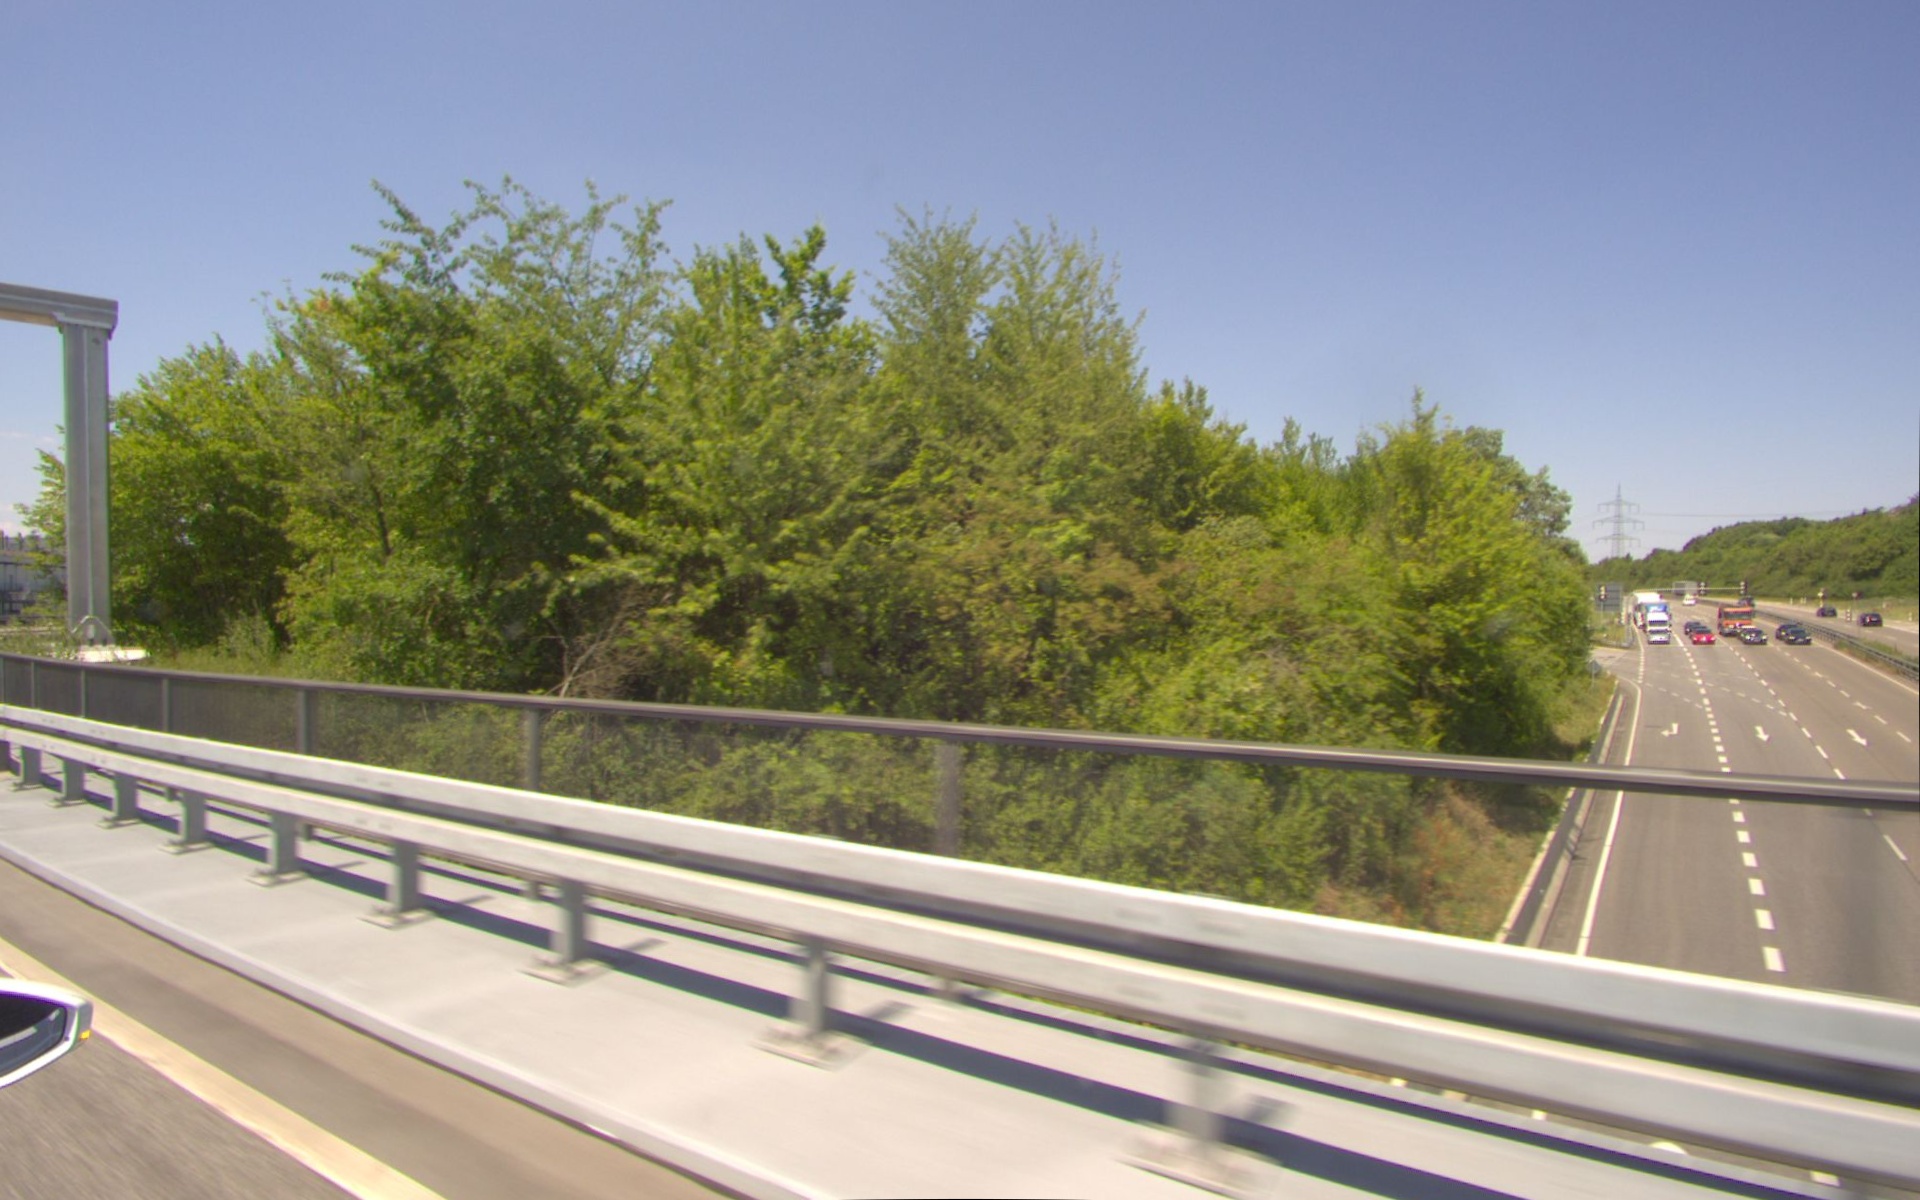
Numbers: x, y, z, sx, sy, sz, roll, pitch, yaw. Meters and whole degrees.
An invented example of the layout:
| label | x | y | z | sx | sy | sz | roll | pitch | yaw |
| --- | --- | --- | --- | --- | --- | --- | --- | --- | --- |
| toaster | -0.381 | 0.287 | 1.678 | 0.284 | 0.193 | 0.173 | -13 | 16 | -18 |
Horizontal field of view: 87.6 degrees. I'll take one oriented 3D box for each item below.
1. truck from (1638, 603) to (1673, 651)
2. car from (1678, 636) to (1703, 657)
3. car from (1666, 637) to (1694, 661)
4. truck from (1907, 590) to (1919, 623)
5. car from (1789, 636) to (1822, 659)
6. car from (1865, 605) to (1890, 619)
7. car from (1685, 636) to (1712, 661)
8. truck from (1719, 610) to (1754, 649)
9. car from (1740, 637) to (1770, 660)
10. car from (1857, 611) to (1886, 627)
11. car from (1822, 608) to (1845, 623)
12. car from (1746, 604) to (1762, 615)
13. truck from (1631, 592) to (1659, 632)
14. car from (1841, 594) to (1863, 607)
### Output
| label | x | y | z | sx | sy | sz | roll | pitch | yaw |
| --- | --- | --- | --- | --- | --- | --- | --- | --- | --- |
| truck | 77.619 | 2.884 | 111.853 | 2.540 | 5.076 | 12.341 | -1 | 0 | 32 |
| car | 76.306 | 4.819 | 104.643 | 1.973 | 2.040 | 3.976 | -1 | -1 | 34 |
| car | 66.197 | 4.454 | 92.126 | 1.973 | 2.040 | 3.976 | -1 | -1 | 34 |
| truck | 118.085 | 0.808 | 122.359 | 1.973 | 4.003 | 9.029 | -1 | 0 | 34 |
| car | 80.473 | 4.518 | 95.326 | 1.973 | 2.040 | 3.976 | -1 | -1 | 34 |
| car | 129.636 | 1.683 | 141.487 | 1.973 | 2.040 | 3.976 | -1 | -1 | 34 |
| car | 73.683 | 4.812 | 99.928 | 1.957 | 2.238 | 3.976 | -1 | 0 | 34 |
| truck | 84.436 | 3.138 | 108.970 | 2.678 | 4.063 | 8.824 | -1 | 0 | 36 |
| car | 76.697 | 4.683 | 96.625 | 1.973 | 2.040 | 3.976 | -1 | -1 | 34 |
| car | 108.110 | 2.219 | 118.757 | 1.973 | 1.881 | 3.976 | -1 | -1 | 34 |
| car | 123.393 | 2.195 | 141.467 | 1.973 | 2.040 | 3.976 | -1 | -1 | 34 |
| car | 139.914 | 1.681 | 176.469 | 1.973 | 2.040 | 3.976 | -1 | -1 | 34 |
| truck | 88.456 | 1.519 | 129.362 | 2.388 | 5.034 | 11.022 | -1 | 0 | 32 |
| car | 137.213 | 0.079 | 154.084 | 1.973 | 2.040 | 3.976 | -1 | -1 | 34 |
